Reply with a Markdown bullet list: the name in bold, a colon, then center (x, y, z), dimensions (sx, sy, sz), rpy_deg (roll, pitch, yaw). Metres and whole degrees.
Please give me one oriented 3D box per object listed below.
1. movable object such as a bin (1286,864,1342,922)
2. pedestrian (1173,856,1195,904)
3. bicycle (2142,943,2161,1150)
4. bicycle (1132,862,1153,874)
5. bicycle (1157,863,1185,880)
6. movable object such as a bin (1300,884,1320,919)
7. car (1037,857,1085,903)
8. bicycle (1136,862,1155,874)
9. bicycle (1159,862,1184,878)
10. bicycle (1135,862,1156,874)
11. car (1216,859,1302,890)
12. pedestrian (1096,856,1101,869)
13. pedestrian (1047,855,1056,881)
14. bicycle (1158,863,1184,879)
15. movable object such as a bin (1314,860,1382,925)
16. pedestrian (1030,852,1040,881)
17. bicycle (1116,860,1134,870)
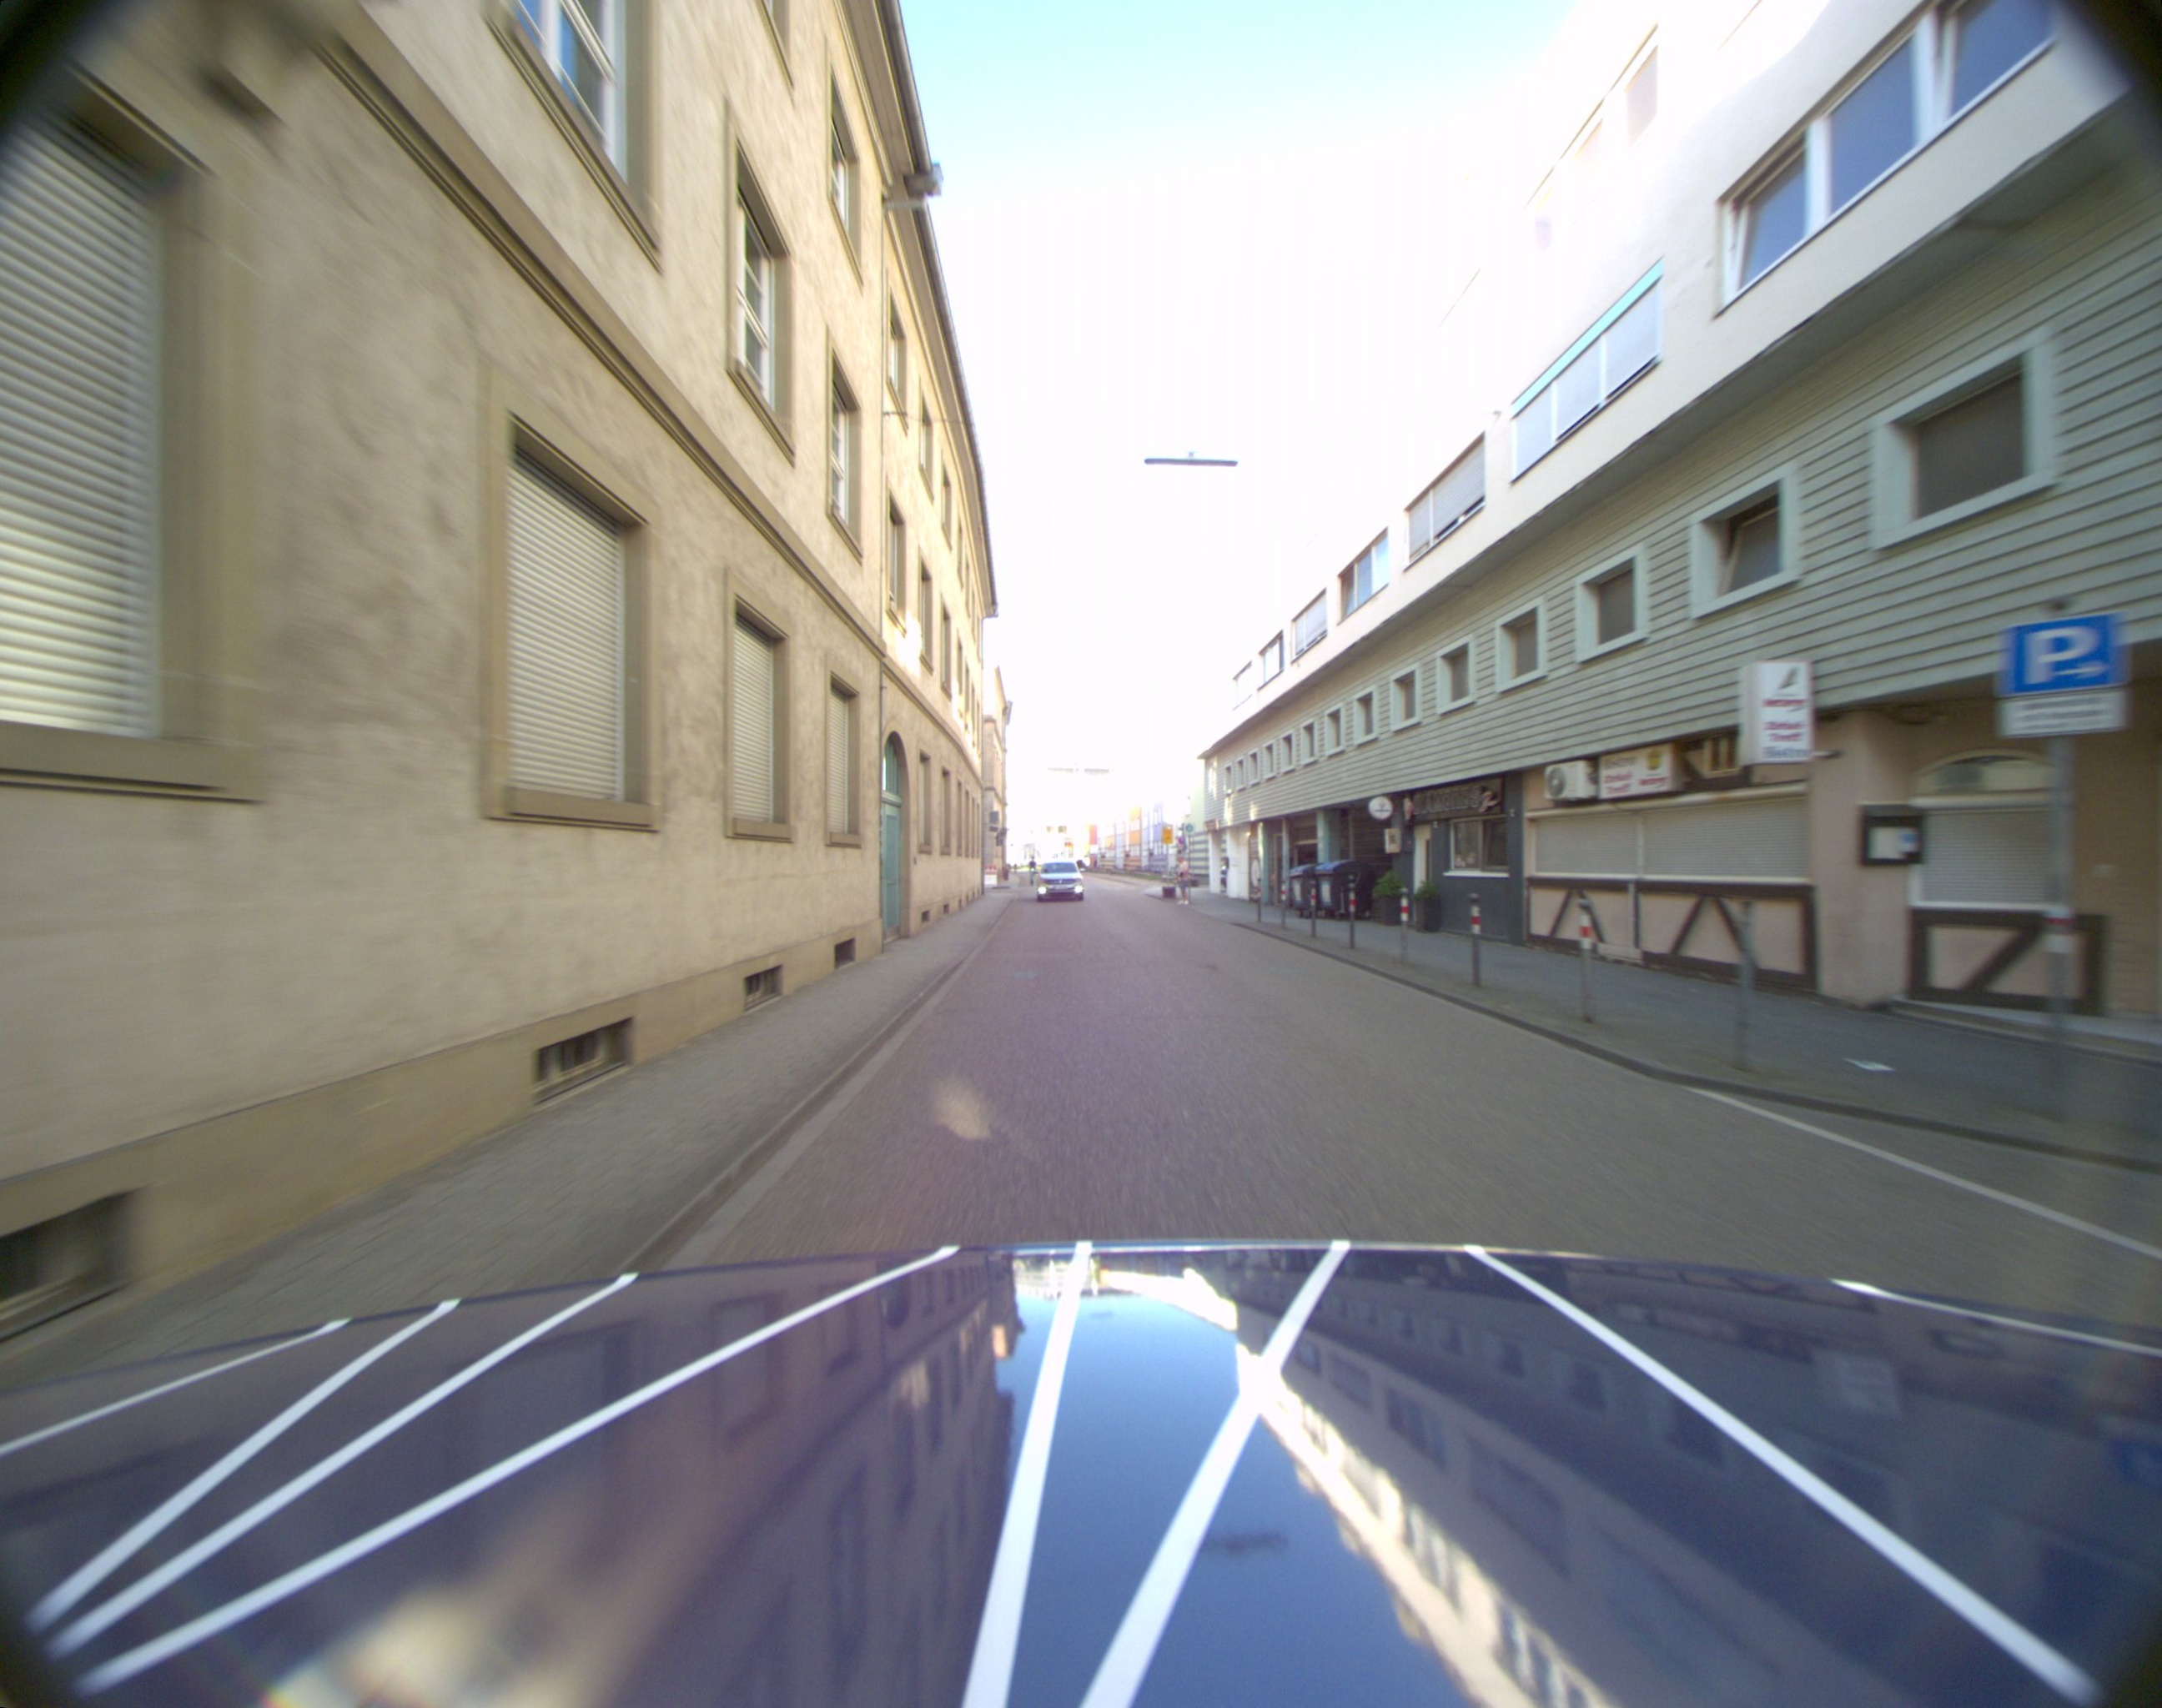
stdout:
- **movable object such as a bin**: center (6.111, 1.011, 20.020), dimensions (0.971, 1.462, 1.474), rpy_deg (0, -1, -3)
- **pedestrian**: center (3.624, 0.897, 26.780), dimensions (0.494, 1.660, 0.627), rpy_deg (-3, 0, -16)
- **bicycle**: center (6.970, 1.087, 3.614), dimensions (2.130, 1.156, 0.825), rpy_deg (0, 0, 22)
- **bicycle**: center (5.477, 1.293, 68.096), dimensions (1.803, 0.940, 0.388), rpy_deg (-4, 0, -4)
- **bicycle**: center (6.414, 1.249, 54.221), dimensions (1.821, 1.094, 0.749), rpy_deg (-4, 0, -4)
- **movable object such as a bin**: center (6.338, 1.308, 21.043), dimensions (0.394, 0.936, 0.467), rpy_deg (0, 0, -3)
- **car**: center (-0.746, 0.960, 30.045), dimensions (1.683, 1.568, 4.242), rpy_deg (-3, 0, 0)
- **bicycle**: center (5.925, 1.296, 70.074), dimensions (1.658, 0.940, 0.388), rpy_deg (-4, 0, -4)
- **bicycle**: center (6.650, 1.191, 56.078), dimensions (1.739, 1.094, 0.388), rpy_deg (-4, 0, -10)
- **bicycle**: center (5.801, 1.236, 68.809), dimensions (1.803, 0.940, 0.388), rpy_deg (-4, 0, -4)
- **car**: center (9.040, 1.036, 38.730), dimensions (3.943, 1.511, 1.692), rpy_deg (0, 0, -5)
- **pedestrian**: center (2.286, 1.146, 100.747), dimensions (0.612, 1.640, 0.447), rpy_deg (0, 0, -9)
- **pedestrian**: center (-2.019, 0.949, 51.808), dimensions (0.603, 1.770, 0.651), rpy_deg (0, 0, -4)
- **bicycle**: center (6.597, 1.240, 55.670), dimensions (1.739, 1.094, 0.388), rpy_deg (-4, 0, -10)
- **movable object such as a bin**: center (6.419, 0.901, 18.373), dimensions (1.125, 1.511, 1.342), rpy_deg (0, -1, -3)
- **pedestrian**: center (-3.057, 0.806, 50.361), dimensions (0.677, 1.928, 0.858), rpy_deg (0, 0, -4)
- **bicycle**: center (4.864, 1.172, 84.619), dimensions (1.808, 0.977, 0.654), rpy_deg (-4, 1, -7)
